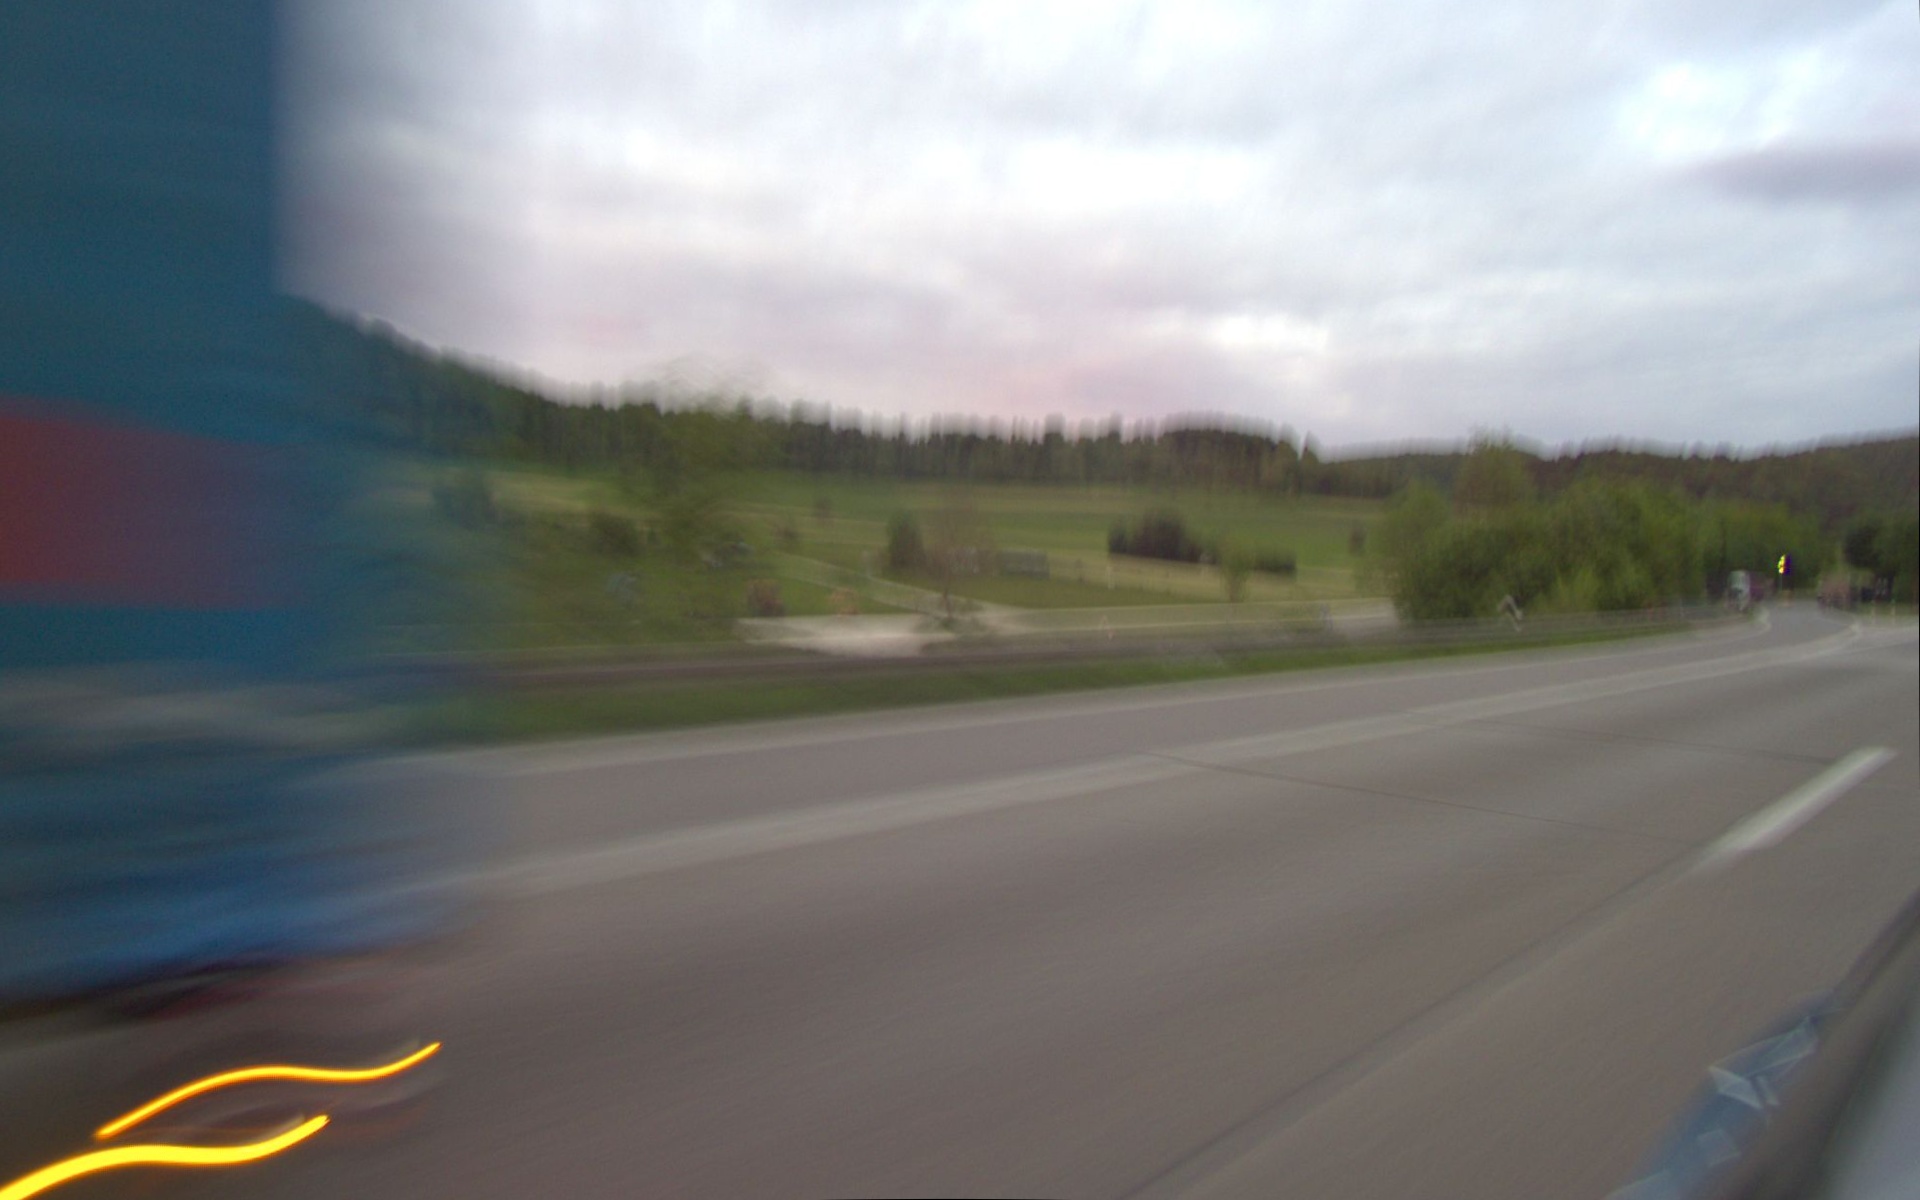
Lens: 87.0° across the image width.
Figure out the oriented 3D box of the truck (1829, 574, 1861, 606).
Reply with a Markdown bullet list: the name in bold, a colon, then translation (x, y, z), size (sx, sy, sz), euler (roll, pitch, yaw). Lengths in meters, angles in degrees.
- **truck**: translation (115.285, -1.328, 131.754), size (2.838, 3.964, 11.806), euler (2, 2, 42)

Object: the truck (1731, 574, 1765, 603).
- **truck**: translation (111.974, -1.603, 143.831), size (6.278, 3.964, 2.842), euler (0, 2, -43)

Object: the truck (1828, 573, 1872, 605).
- **truck**: translation (128.595, -1.609, 146.124), size (3.775, 4.281, 19.217), euler (3, 2, 44)
